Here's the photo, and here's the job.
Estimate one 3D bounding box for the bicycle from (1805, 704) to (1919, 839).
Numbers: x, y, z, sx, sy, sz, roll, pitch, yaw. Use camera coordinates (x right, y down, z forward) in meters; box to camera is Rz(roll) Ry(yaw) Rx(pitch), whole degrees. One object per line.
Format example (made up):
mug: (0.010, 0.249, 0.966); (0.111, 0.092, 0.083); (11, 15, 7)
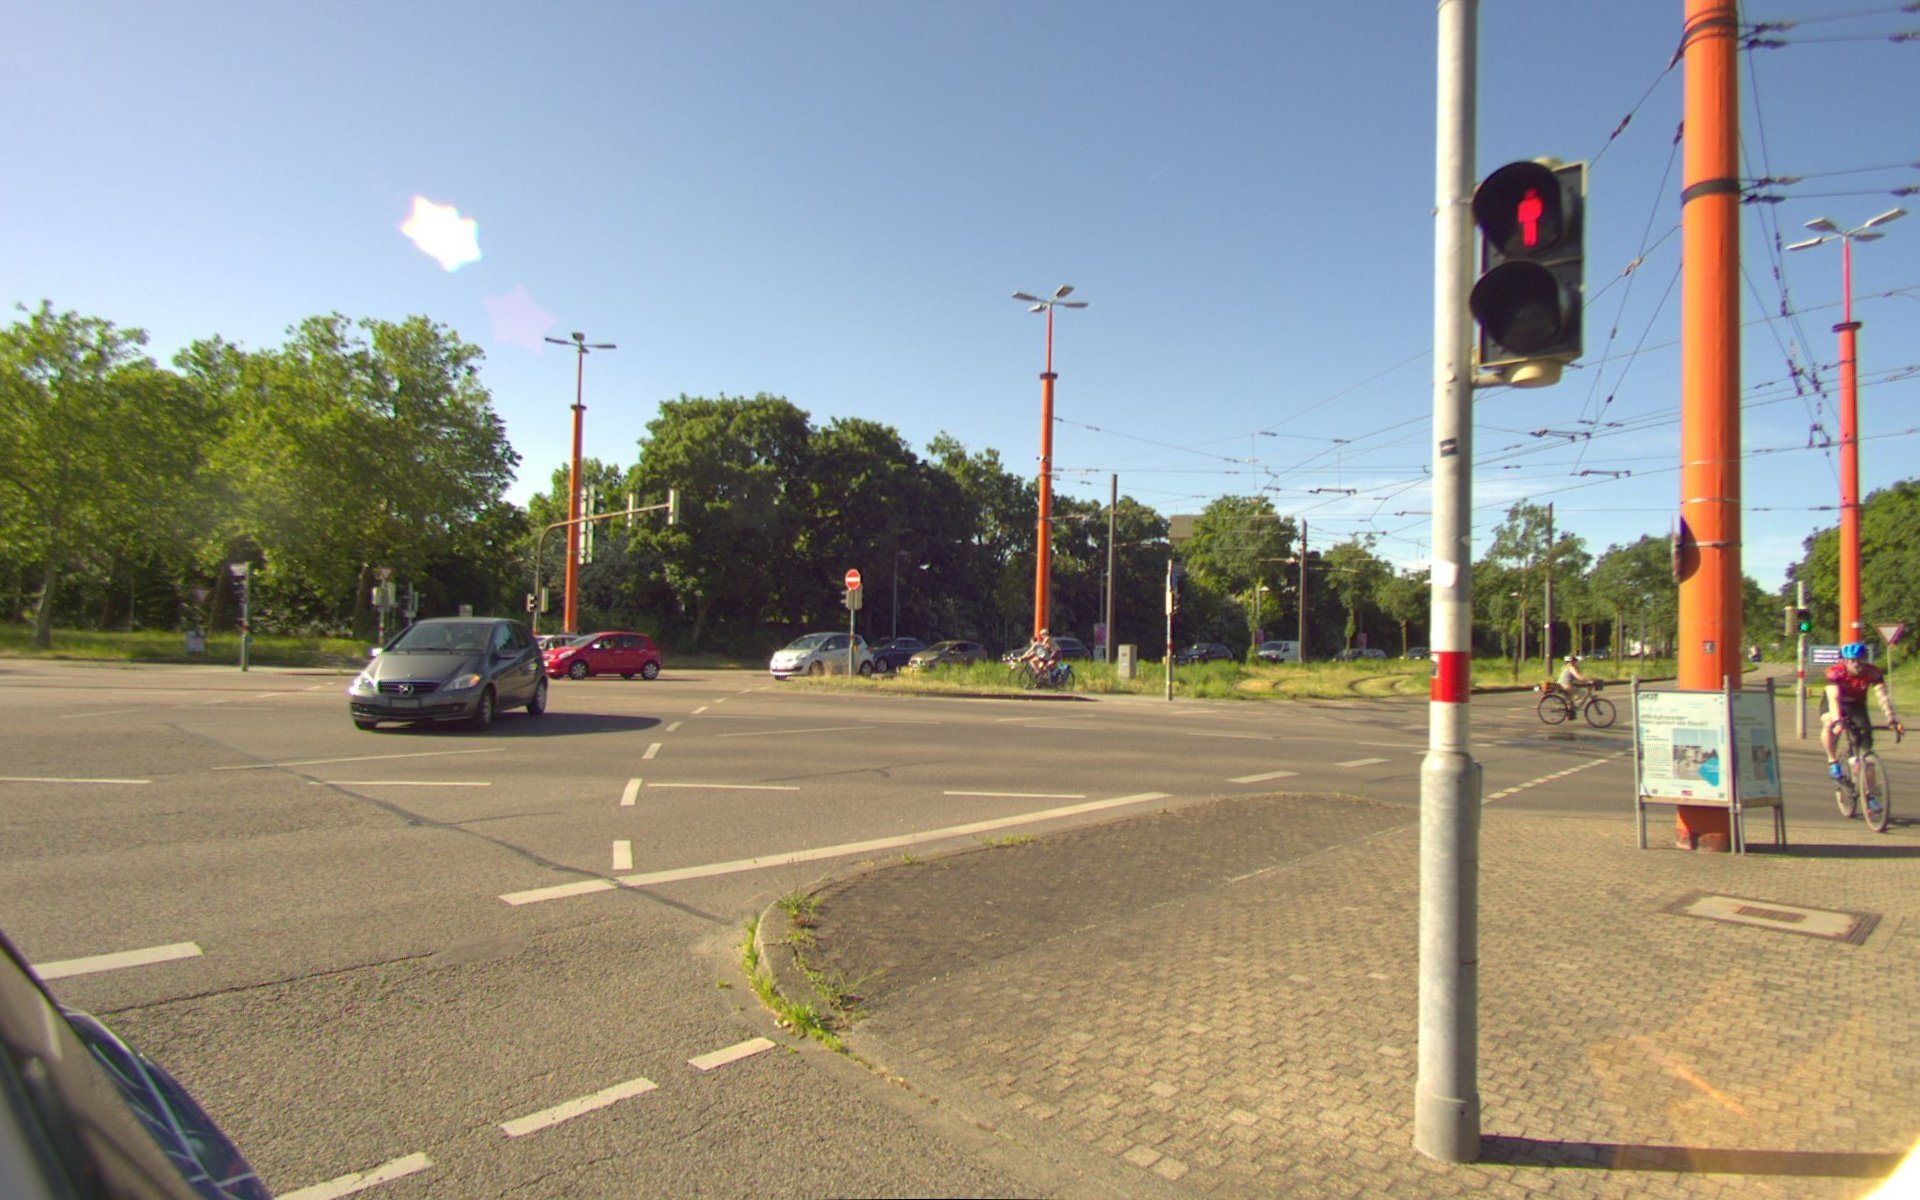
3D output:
bicycle: (8.718, 1.582, 9.679); (0.700, 1.116, 1.880); (-1, -5, 32)

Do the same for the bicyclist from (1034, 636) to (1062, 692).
bicyclist: (2.702, 1.951, 30.922); (0.709, 1.665, 0.558); (0, -3, 20)

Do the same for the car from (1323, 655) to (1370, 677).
car: (27.993, 4.763, 73.251); (1.800, 1.522, 3.942); (-3, -5, 44)

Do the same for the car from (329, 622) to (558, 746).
car: (-7.595, 1.185, 15.330); (1.772, 1.602, 3.767); (2, -2, -5)

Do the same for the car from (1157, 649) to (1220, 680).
car: (13.157, 3.708, 58.176); (1.800, 1.668, 3.942); (-3, -5, 44)

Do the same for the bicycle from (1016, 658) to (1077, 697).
bicycle: (2.648, 2.351, 30.919); (1.787, 1.116, 0.558); (0, -3, 20)

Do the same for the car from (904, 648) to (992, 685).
car: (-0.476, 2.835, 43.498); (3.730, 1.522, 1.615); (4, -5, -44)

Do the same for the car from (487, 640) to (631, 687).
car: (-13.660, 2.171, 34.613); (1.800, 1.522, 4.186); (-2, -5, 43)

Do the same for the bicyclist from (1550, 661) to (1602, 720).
bicyclist: (14.725, 2.155, 24.208); (0.782, 1.391, 0.659); (-1, -5, 6)

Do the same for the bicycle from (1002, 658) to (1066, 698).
bicycle: (2.181, 2.296, 29.792); (1.787, 1.116, 0.497); (0, -3, 20)

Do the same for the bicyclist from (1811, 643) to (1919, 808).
bicyclist: (8.731, 1.173, 9.712); (0.700, 1.489, 0.946); (-1, -5, 33)

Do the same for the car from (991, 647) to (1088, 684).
car: (3.536, 2.842, 44.116); (1.790, 1.522, 4.560); (-2, -5, 43)

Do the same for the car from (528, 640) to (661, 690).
car: (-11.510, 2.043, 32.007); (1.589, 1.470, 3.619); (-1, -4, 43)

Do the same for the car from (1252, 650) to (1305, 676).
car: (22.704, 4.484, 72.032); (1.800, 1.850, 4.491); (-3, -5, 43)

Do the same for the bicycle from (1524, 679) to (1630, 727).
bicycle: (14.721, 2.452, 24.179); (2.020, 1.116, 0.659); (-1, -5, 7)

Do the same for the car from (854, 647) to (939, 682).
car: (-2.840, 2.909, 45.625); (1.614, 1.518, 3.731); (-2, -5, 43)

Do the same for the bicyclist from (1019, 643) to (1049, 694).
bicyclist: (2.187, 2.002, 29.807); (0.772, 1.458, 0.497); (0, -3, 20)

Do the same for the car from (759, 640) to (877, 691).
car: (-4.729, 2.196, 34.155); (1.702, 1.600, 3.855); (-2, -4, 37)
